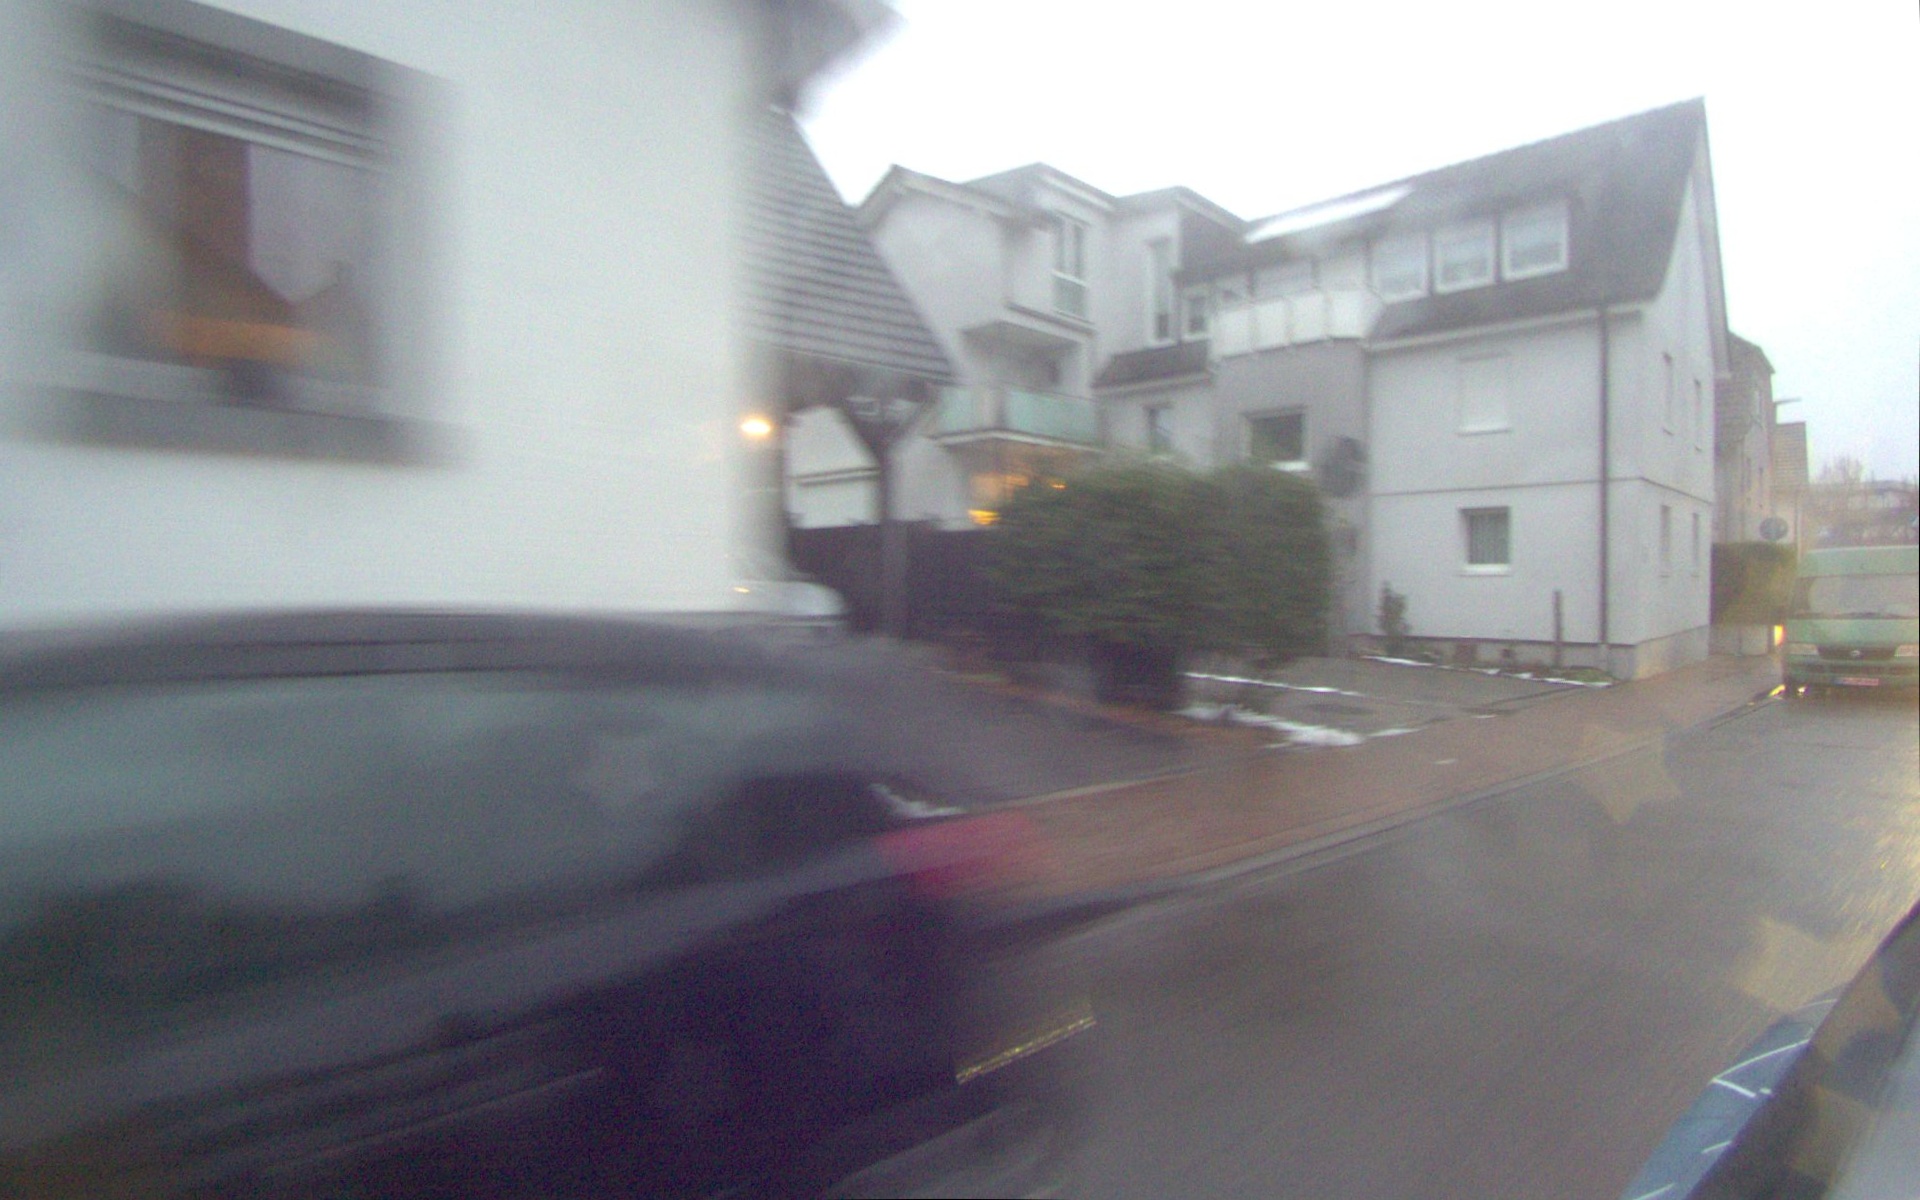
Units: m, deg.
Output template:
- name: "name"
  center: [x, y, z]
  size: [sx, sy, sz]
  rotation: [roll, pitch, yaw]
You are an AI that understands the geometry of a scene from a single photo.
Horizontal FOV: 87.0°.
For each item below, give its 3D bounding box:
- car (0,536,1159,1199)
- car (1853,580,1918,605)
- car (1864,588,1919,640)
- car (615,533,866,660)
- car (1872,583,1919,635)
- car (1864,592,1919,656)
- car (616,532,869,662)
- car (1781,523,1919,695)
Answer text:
- name: "car"
  center: [-1.541, 0.692, 1.584]
  size: [3.932, 1.490, 1.639]
  rotation: [0, -1, -43]
- name: "car"
  center: [72.734, -0.601, 79.645]
  size: [1.828, 1.907, 4.858]
  rotation: [0, 0, 17]
- name: "car"
  center: [27.701, 0.374, 29.614]
  size: [1.735, 1.424, 4.237]
  rotation: [0, 0, 43]
- name: "car"
  center: [-3.305, -0.094, 14.679]
  size: [1.944, 1.562, 4.066]
  rotation: [0, 1, -39]
- name: "car"
  center: [30.793, 0.242, 32.743]
  size: [1.809, 1.558, 4.237]
  rotation: [0, 1, 43]
- name: "car"
  center: [23.944, 0.555, 25.473]
  size: [1.643, 1.496, 4.303]
  rotation: [0, 0, 43]
- name: "car"
  center: [-3.261, -0.084, 14.602]
  size: [1.944, 1.583, 4.066]
  rotation: [0, 1, -39]
- name: "car"
  center: [15.584, 0.119, 16.993]
  size: [5.520, 2.485, 2.011]
  rotation: [0, -1, -43]
